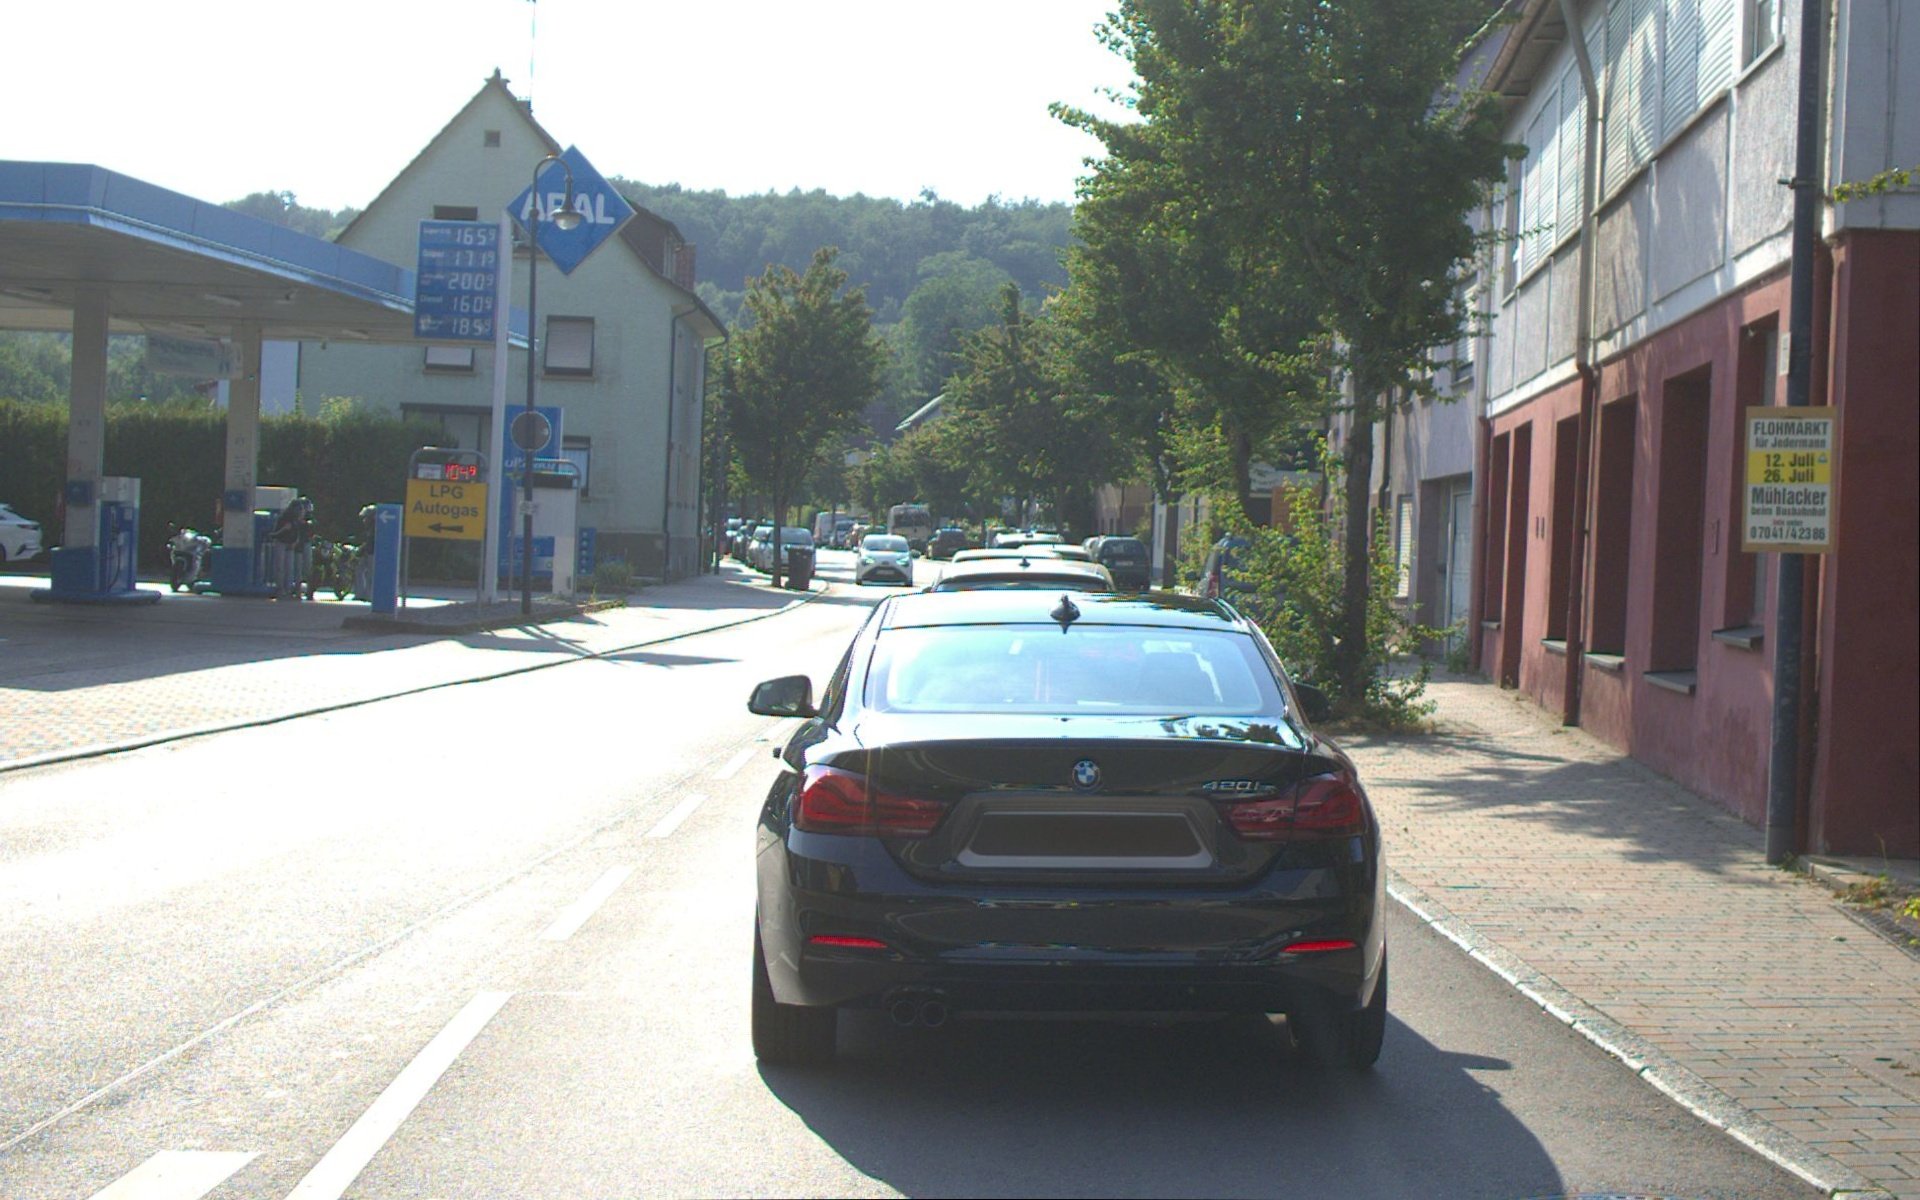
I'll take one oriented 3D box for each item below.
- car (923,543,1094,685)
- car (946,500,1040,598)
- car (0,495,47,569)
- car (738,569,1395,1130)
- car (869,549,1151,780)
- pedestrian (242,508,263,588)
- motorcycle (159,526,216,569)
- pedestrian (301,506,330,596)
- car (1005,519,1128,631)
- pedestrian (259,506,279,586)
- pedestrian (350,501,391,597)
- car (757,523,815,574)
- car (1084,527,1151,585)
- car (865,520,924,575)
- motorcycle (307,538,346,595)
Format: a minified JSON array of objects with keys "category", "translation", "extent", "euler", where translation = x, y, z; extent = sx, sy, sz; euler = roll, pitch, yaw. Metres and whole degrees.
[{"category":"car","translation":[0.556,0.115,37.572],"extent":[1.754,1.409,3.422],"euler":[1,2,2]},{"category":"car","translation":[0.645,-0.991,64.968],"extent":[1.603,1.761,3.411],"euler":[1,2,3]},{"category":"car","translation":[-19.723,-1.379,68.010],"extent":[3.150,1.423,1.440],"euler":[1,2,-16]},{"category":"car","translation":[0.254,0.635,11.117],"extent":[1.699,1.364,4.263],"euler":[1,2,-1]},{"category":"car","translation":[0.423,0.394,24.243],"extent":[1.772,1.451,3.515],"euler":[2,1,4]},{"category":"pedestrian","translation":[-12.133,-0.891,58.971],"extent":[0.287,1.362,0.263],"euler":[1,1,-3]},{"category":"motorcycle","translation":[-13.481,-0.920,60.023],"extent":[0.459,0.727,1.473],"euler":[2,2,8]},{"category":"pedestrian","translation":[-11.254,-0.857,59.995],"extent":[0.407,1.541,0.433],"euler":[1,1,-2]},{"category":"car","translation":[1.600,-0.412,52.775],"extent":[1.591,1.594,3.894],"euler":[1,2,-2]},{"category":"pedestrian","translation":[-11.988,-0.936,59.681],"extent":[0.262,1.378,0.288],"euler":[1,1,-23]},{"category":"pedestrian","translation":[-10.276,-0.893,59.934],"extent":[0.610,1.664,0.442],"euler":[1,1,-2]},{"category":"car","translation":[-5.383,-1.611,106.795],"extent":[1.597,1.480,3.475],"euler":[2,1,0]},{"category":"car","translation":[4.291,-1.213,94.210],"extent":[1.597,1.480,3.475],"euler":[2,1,0]},{"category":"car","translation":[-1.864,-1.523,98.421],"extent":[1.597,1.480,3.475],"euler":[2,1,0]},{"category":"motorcycle","translation":[-10.932,-0.590,59.340],"extent":[0.363,0.940,1.696],"euler":[1,2,-1]}]
